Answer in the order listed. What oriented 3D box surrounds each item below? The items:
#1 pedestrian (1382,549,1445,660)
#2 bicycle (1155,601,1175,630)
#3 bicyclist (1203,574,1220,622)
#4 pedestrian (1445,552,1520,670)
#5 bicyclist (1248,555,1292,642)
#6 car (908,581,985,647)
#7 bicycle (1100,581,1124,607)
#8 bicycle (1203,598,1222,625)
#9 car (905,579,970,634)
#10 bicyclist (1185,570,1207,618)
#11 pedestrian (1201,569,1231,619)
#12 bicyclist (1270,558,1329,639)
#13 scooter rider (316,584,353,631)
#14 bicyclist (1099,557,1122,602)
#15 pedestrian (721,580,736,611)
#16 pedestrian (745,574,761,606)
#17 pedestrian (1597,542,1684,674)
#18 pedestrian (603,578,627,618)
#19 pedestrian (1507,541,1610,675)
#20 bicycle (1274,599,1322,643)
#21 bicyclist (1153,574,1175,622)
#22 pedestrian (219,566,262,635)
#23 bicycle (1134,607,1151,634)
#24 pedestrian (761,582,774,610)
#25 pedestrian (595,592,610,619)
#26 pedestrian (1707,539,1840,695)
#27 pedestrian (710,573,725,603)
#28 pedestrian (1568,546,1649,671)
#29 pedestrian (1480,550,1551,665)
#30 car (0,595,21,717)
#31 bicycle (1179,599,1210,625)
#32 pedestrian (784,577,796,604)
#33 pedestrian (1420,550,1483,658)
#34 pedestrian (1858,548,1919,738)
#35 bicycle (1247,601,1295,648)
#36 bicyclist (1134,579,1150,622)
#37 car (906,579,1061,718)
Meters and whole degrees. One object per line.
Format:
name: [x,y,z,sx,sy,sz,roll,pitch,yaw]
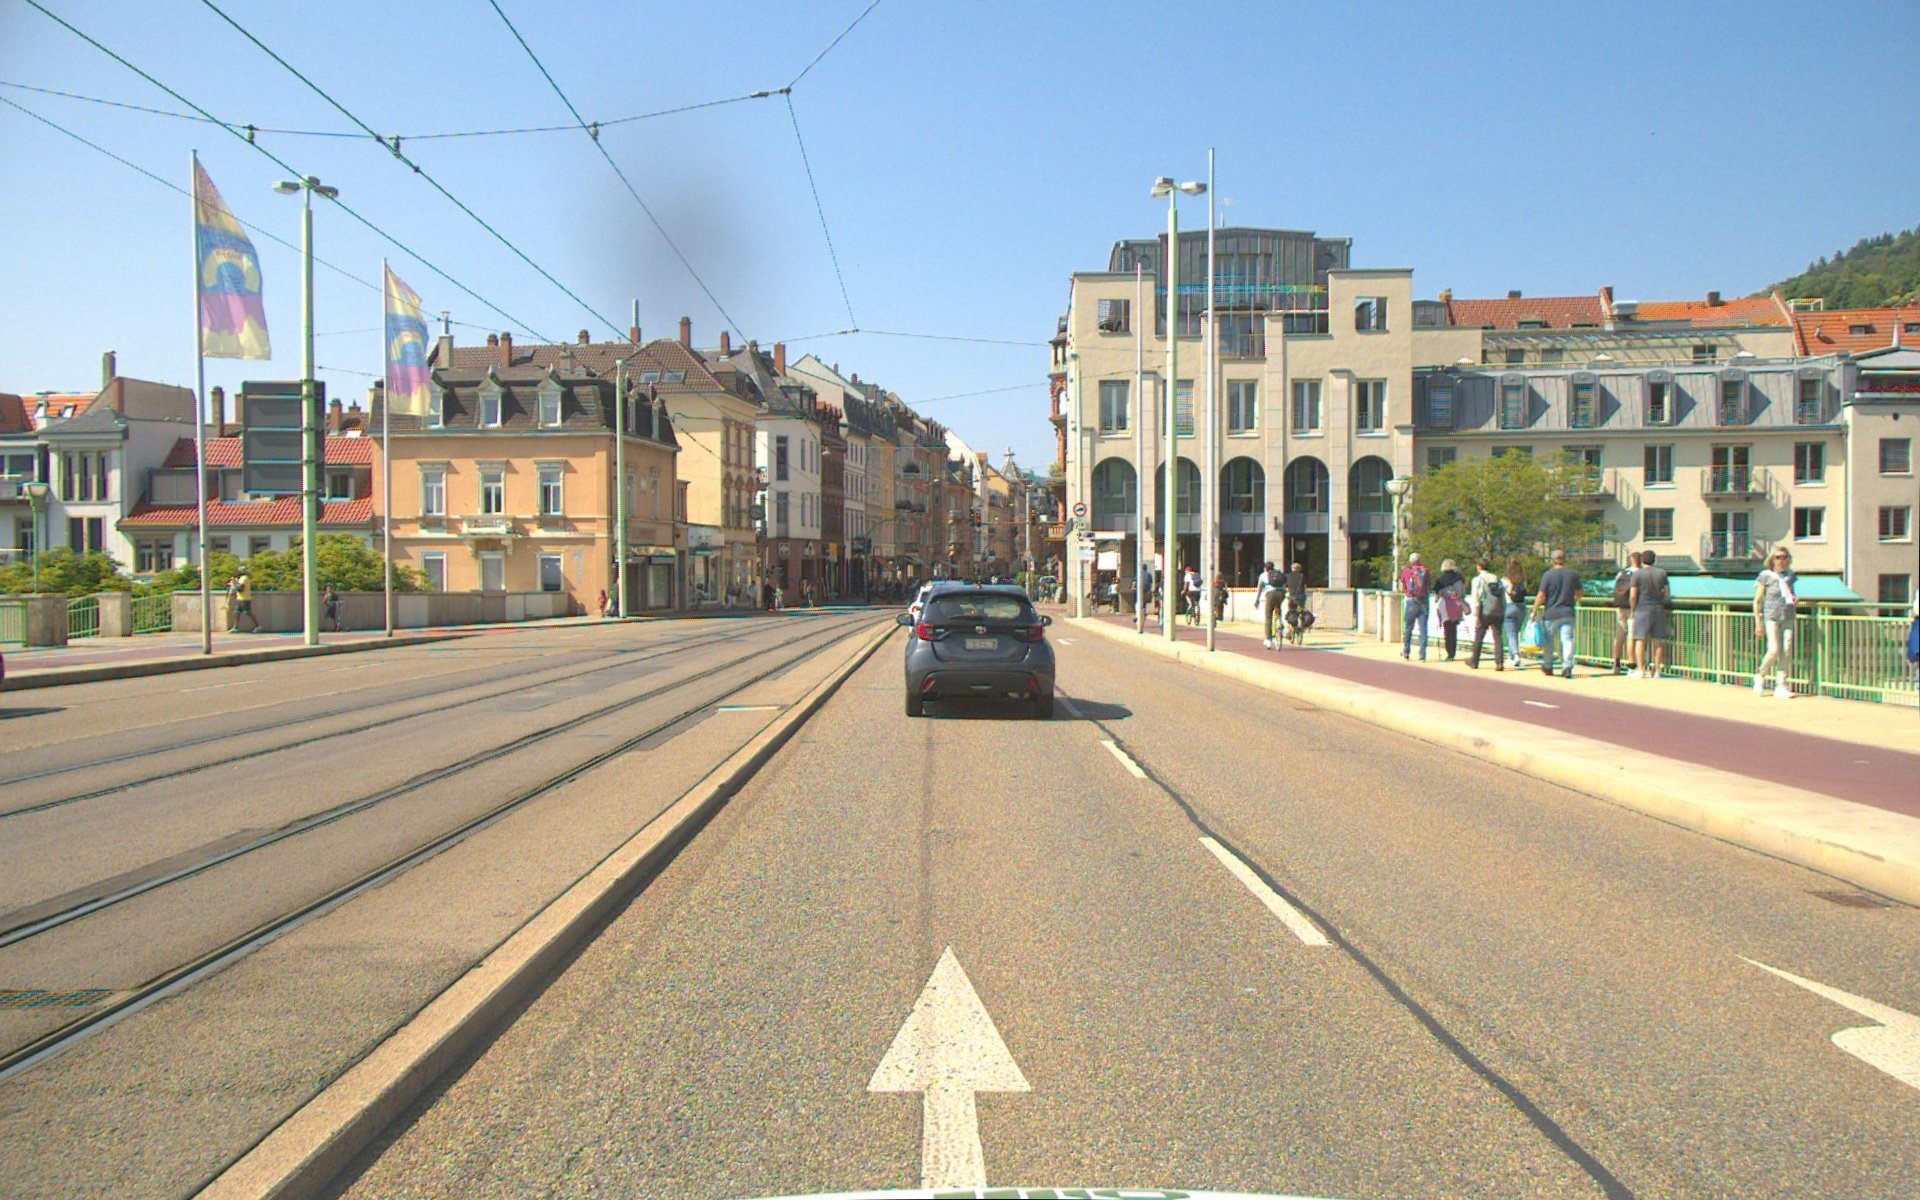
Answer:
pedestrian: [7.707,0.070,28.126,0.724,1.833,1.015,-2,0,-1]
bicycle: [5.861,0.432,47.340,0.408,0.779,1.206,-2,0,1]
bicyclist: [7.575,-0.060,49.793,0.413,1.407,0.443,-2,0,-1]
pedestrian: [7.987,0.162,25.328,0.739,1.748,1.073,-2,0,-1]
bicyclist: [6.282,-0.028,33.512,0.687,1.725,0.924,-1,0,0]
car: [-0.354,0.319,42.052,1.859,1.556,3.999,1,0,-1]
bicycle: [8.633,-0.338,94.257,1.089,1.445,3.007,0,1,0]
bicycle: [7.591,0.336,49.774,0.408,0.779,0.962,-2,0,0]
car: [-0.685,0.165,50.200,1.859,1.556,3.999,1,0,-1]
bicyclist: [7.452,-0.188,52.212,0.480,1.491,0.437,0,3,-39]
pedestrian: [8.632,-0.205,55.820,0.724,1.642,1.015,4,0,-1]
bicyclist: [7.381,-0.034,35.973,1.115,1.725,0.925,-1,0,4]
scooter rider: [-18.593,0.236,49.171,0.752,1.338,0.598,4,0,11]
bicyclist: [8.547,-1.175,94.120,1.203,2.573,1.105,0,0,0]
pedestrian: [-12.865,-0.264,91.825,0.636,1.629,0.566,4,2,0]
pedestrian: [-12.138,-0.575,96.840,0.721,1.796,0.787,4,0,0]
pedestrian: [9.352,0.104,22.764,0.724,1.748,1.015,-2,0,-1]
pedestrian: [-14.963,-0.100,71.679,0.746,1.682,0.712,4,0,3]
pedestrian: [8.439,0.106,23.360,0.957,1.808,1.207,-2,0,-1]
bicycle: [7.339,0.453,35.948,0.781,0.898,1.829,-1,1,4]
bicyclist: [5.830,-0.075,47.321,0.527,1.339,0.672,-2,0,2]
pedestrian: [-19.194,0.000,44.108,0.730,1.812,0.802,-1,0,4]
bicycle: [5.579,0.623,50.576,0.407,0.779,0.962,-2,0,2]
pedestrian: [-11.447,-0.254,98.433,0.636,1.629,0.566,4,2,0]
pedestrian: [-15.735,0.227,72.767,0.403,1.166,0.545,4,0,8]
pedestrian: [9.273,0.184,18.899,0.928,1.691,1.082,-2,0,-1]
pedestrian: [-13.734,-0.669,93.686,0.636,1.629,0.566,4,2,0]
pedestrian: [9.324,0.117,23.817,0.724,1.748,1.015,-1,0,-2]
pedestrian: [8.830,0.111,26.324,0.724,1.777,1.015,-2,0,-1]
car: [-12.557,0.718,18.681,1.681,1.480,3.901,-1,1,-1]
bicycle: [7.393,0.381,52.186,0.413,0.779,0.948,0,3,-39]
pedestrian: [-11.691,-0.660,113.693,0.721,1.797,0.787,0,1,-1]
pedestrian: [8.459,0.066,28.518,0.724,1.808,1.015,-2,0,-1]
pedestrian: [8.276,0.336,13.986,0.812,1.556,0.933,-2,0,-1]
bicycle: [6.288,0.480,33.489,0.689,0.898,1.525,-1,0,0]
bicyclist: [5.551,0.014,50.546,0.413,1.278,0.443,-2,0,2]
car: [0.231,0.516,20.043,1.685,1.499,3.657,1,0,-1]
